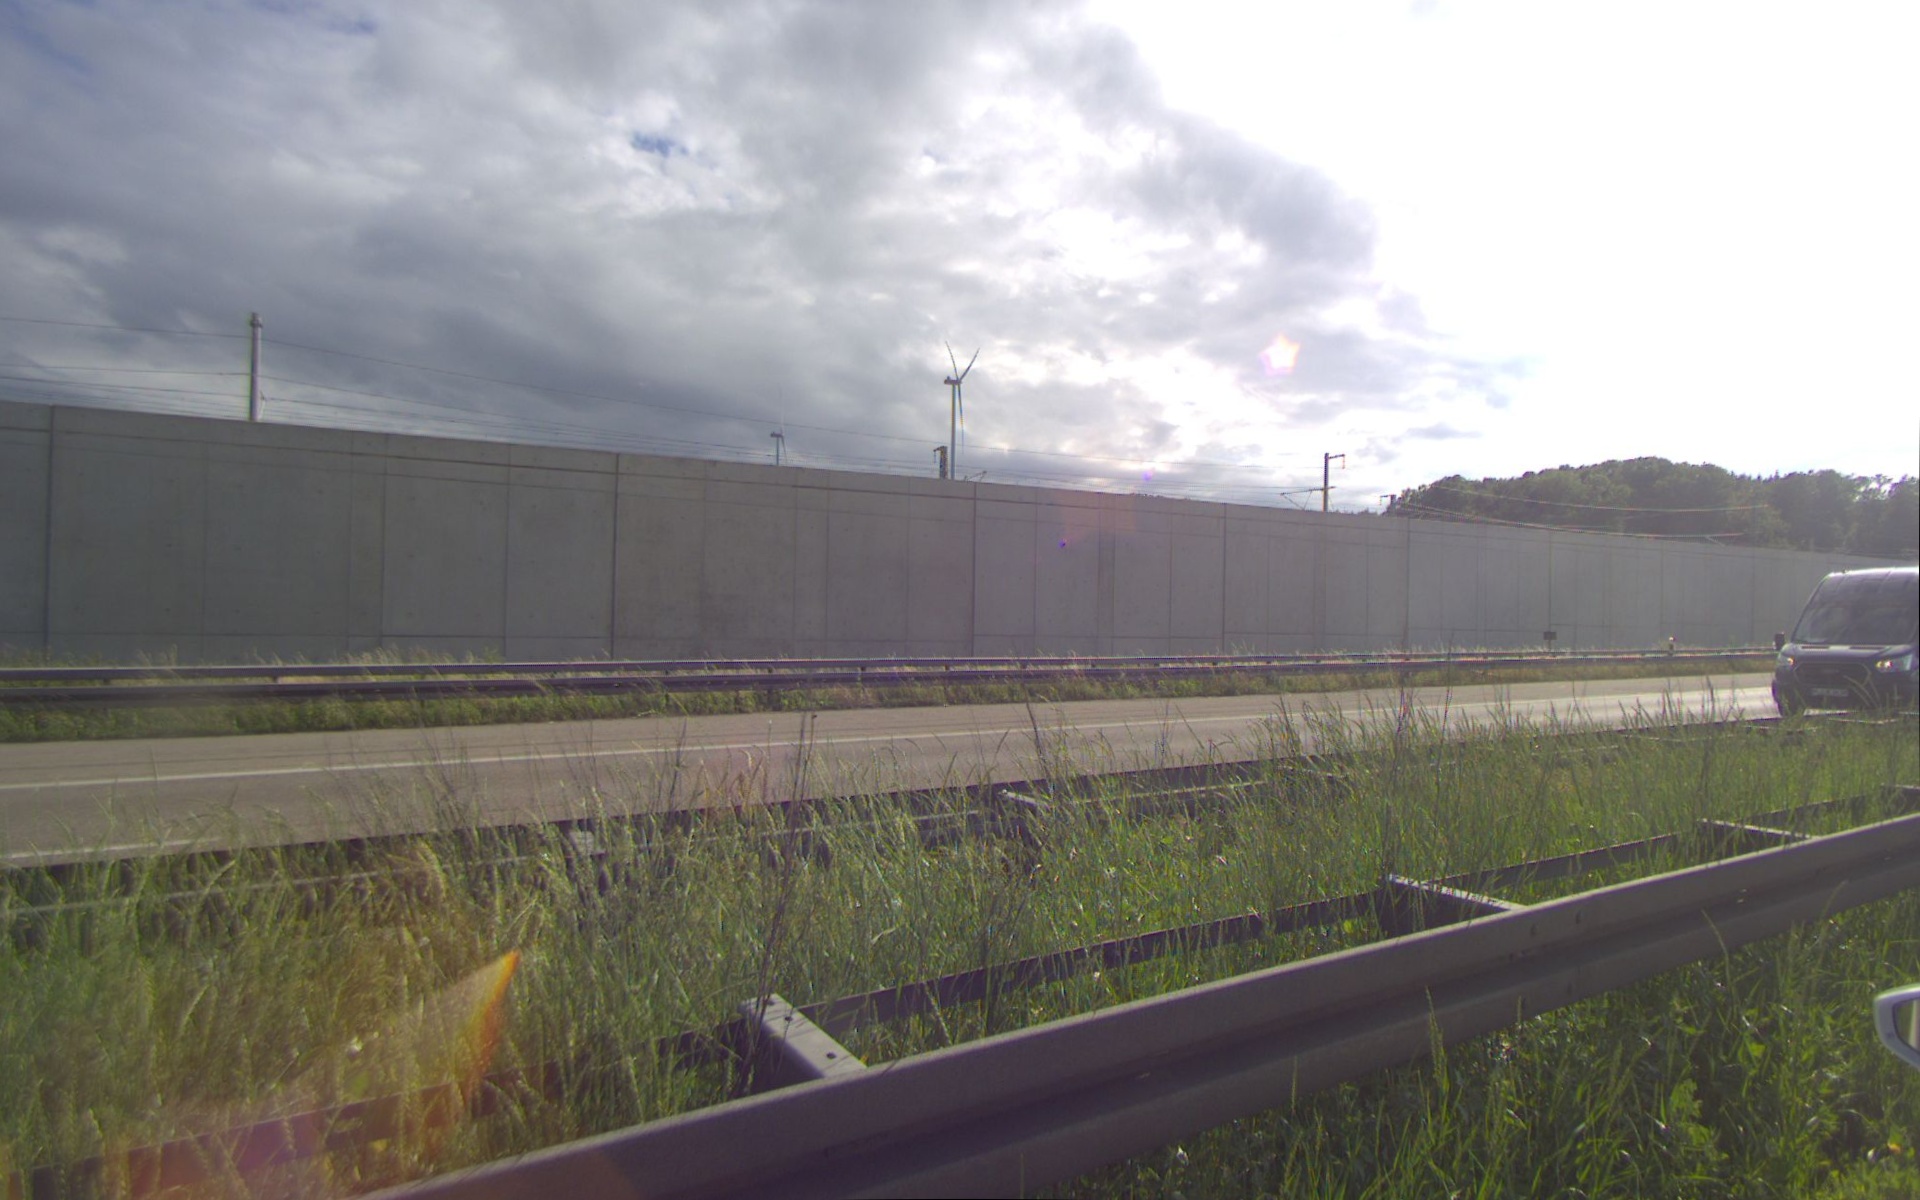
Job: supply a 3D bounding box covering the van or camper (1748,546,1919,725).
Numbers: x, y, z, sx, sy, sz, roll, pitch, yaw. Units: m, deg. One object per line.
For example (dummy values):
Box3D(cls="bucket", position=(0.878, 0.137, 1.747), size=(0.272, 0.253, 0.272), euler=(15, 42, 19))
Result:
Box3D(cls="van or camper", position=(17.003, 0.660, 18.409), size=(5.828, 2.857, 2.079), euler=(2, 0, -31))
